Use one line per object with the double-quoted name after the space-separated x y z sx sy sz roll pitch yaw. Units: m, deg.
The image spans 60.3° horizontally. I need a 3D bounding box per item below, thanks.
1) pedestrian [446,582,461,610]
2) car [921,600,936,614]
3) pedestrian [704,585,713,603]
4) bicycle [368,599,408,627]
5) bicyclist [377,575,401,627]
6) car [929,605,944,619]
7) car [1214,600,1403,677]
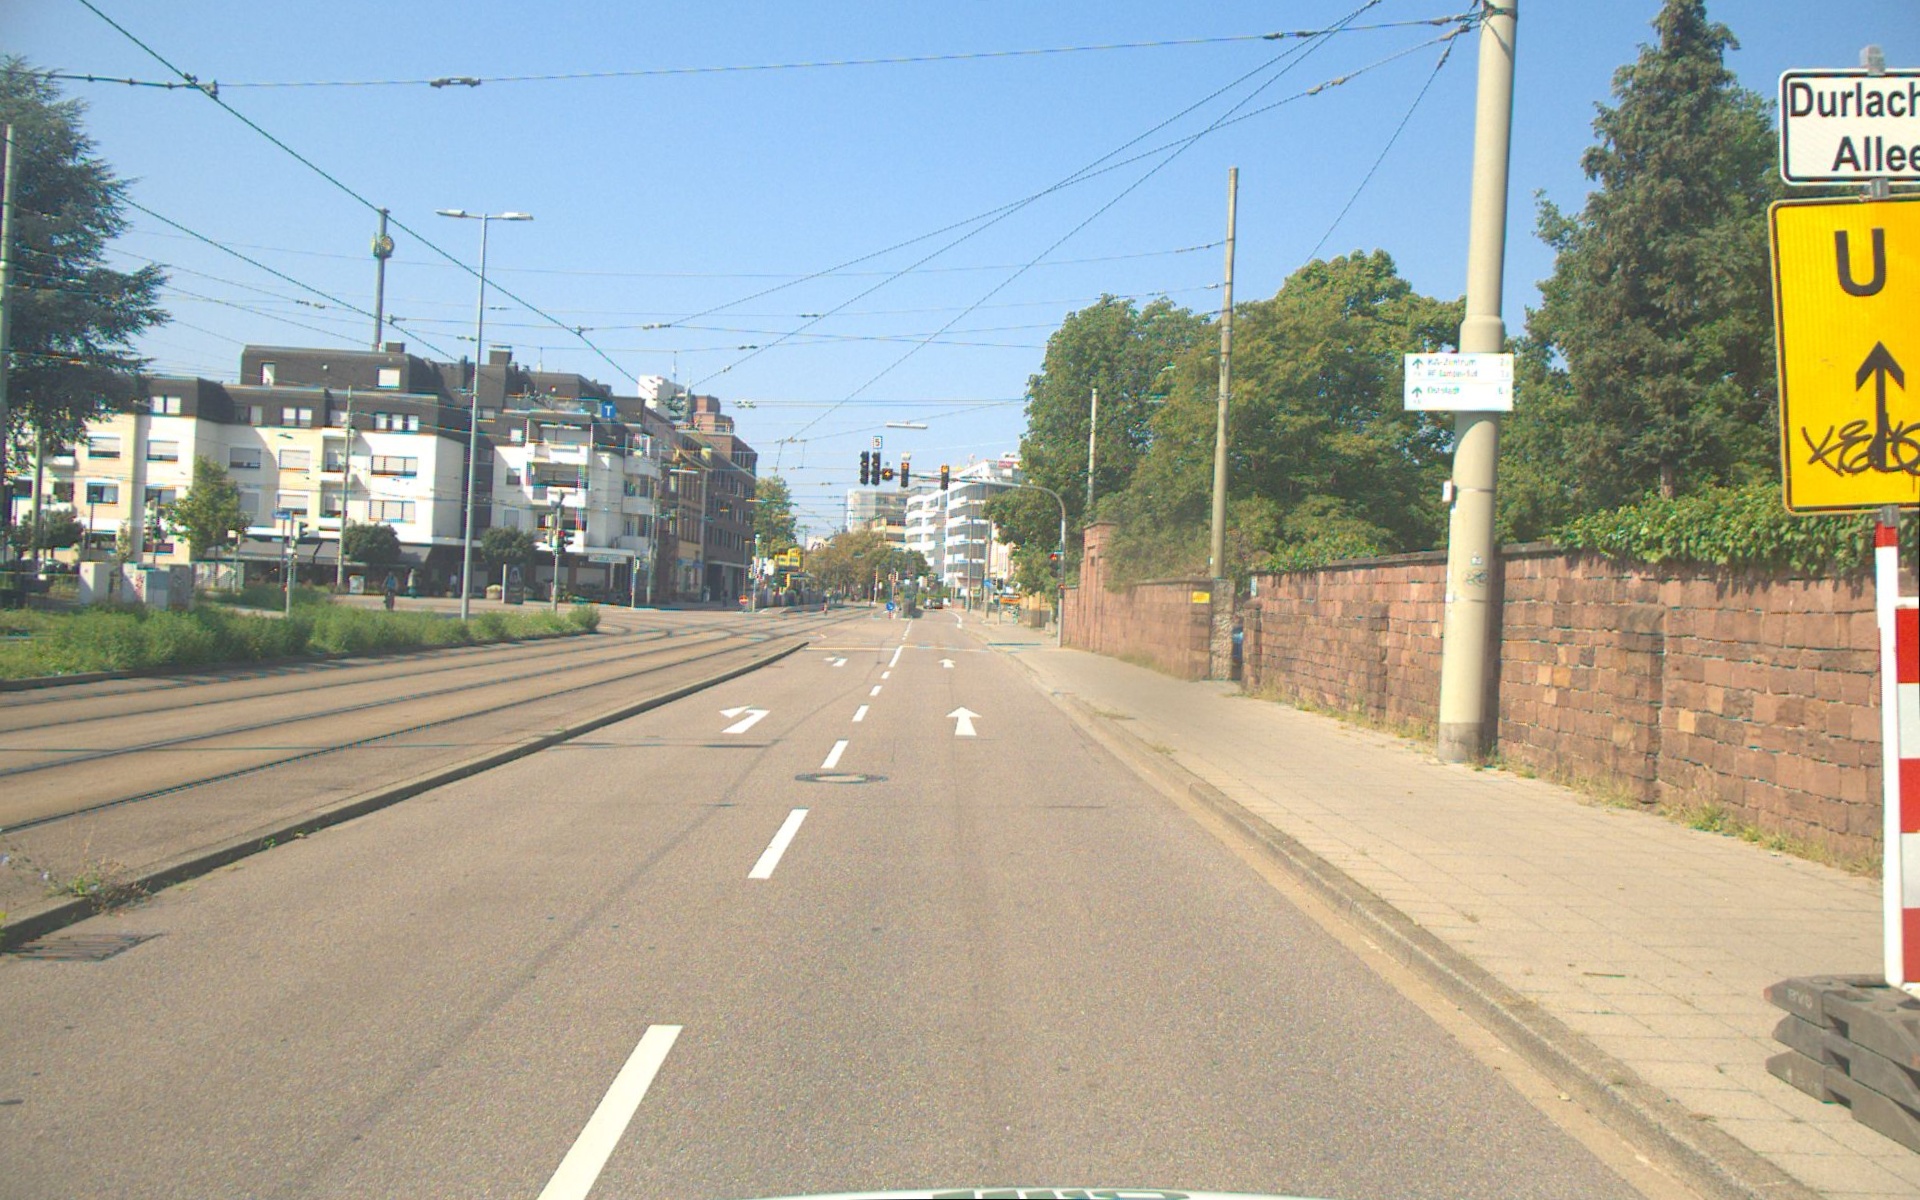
-32.520 -0.260 106.211 0.665 1.771 0.698 1 -1 0 "pedestrian"
-4.538 0.995 239.502 1.970 1.891 4.000 1 0 0 "car"
-22.948 -0.517 150.703 0.473 1.587 0.888 3 -2 10 "pedestrian"
-22.920 0.521 66.321 0.700 1.110 2.266 1 0 3 "bicycle"
-22.909 0.042 66.340 0.624 2.100 0.775 1 -1 3 "bicyclist"
-3.336 1.664 233.441 1.970 1.891 4.000 1 0 0 "car"
7.992 0.866 38.108 3.888 1.489 1.777 3 0 -2 "car"
